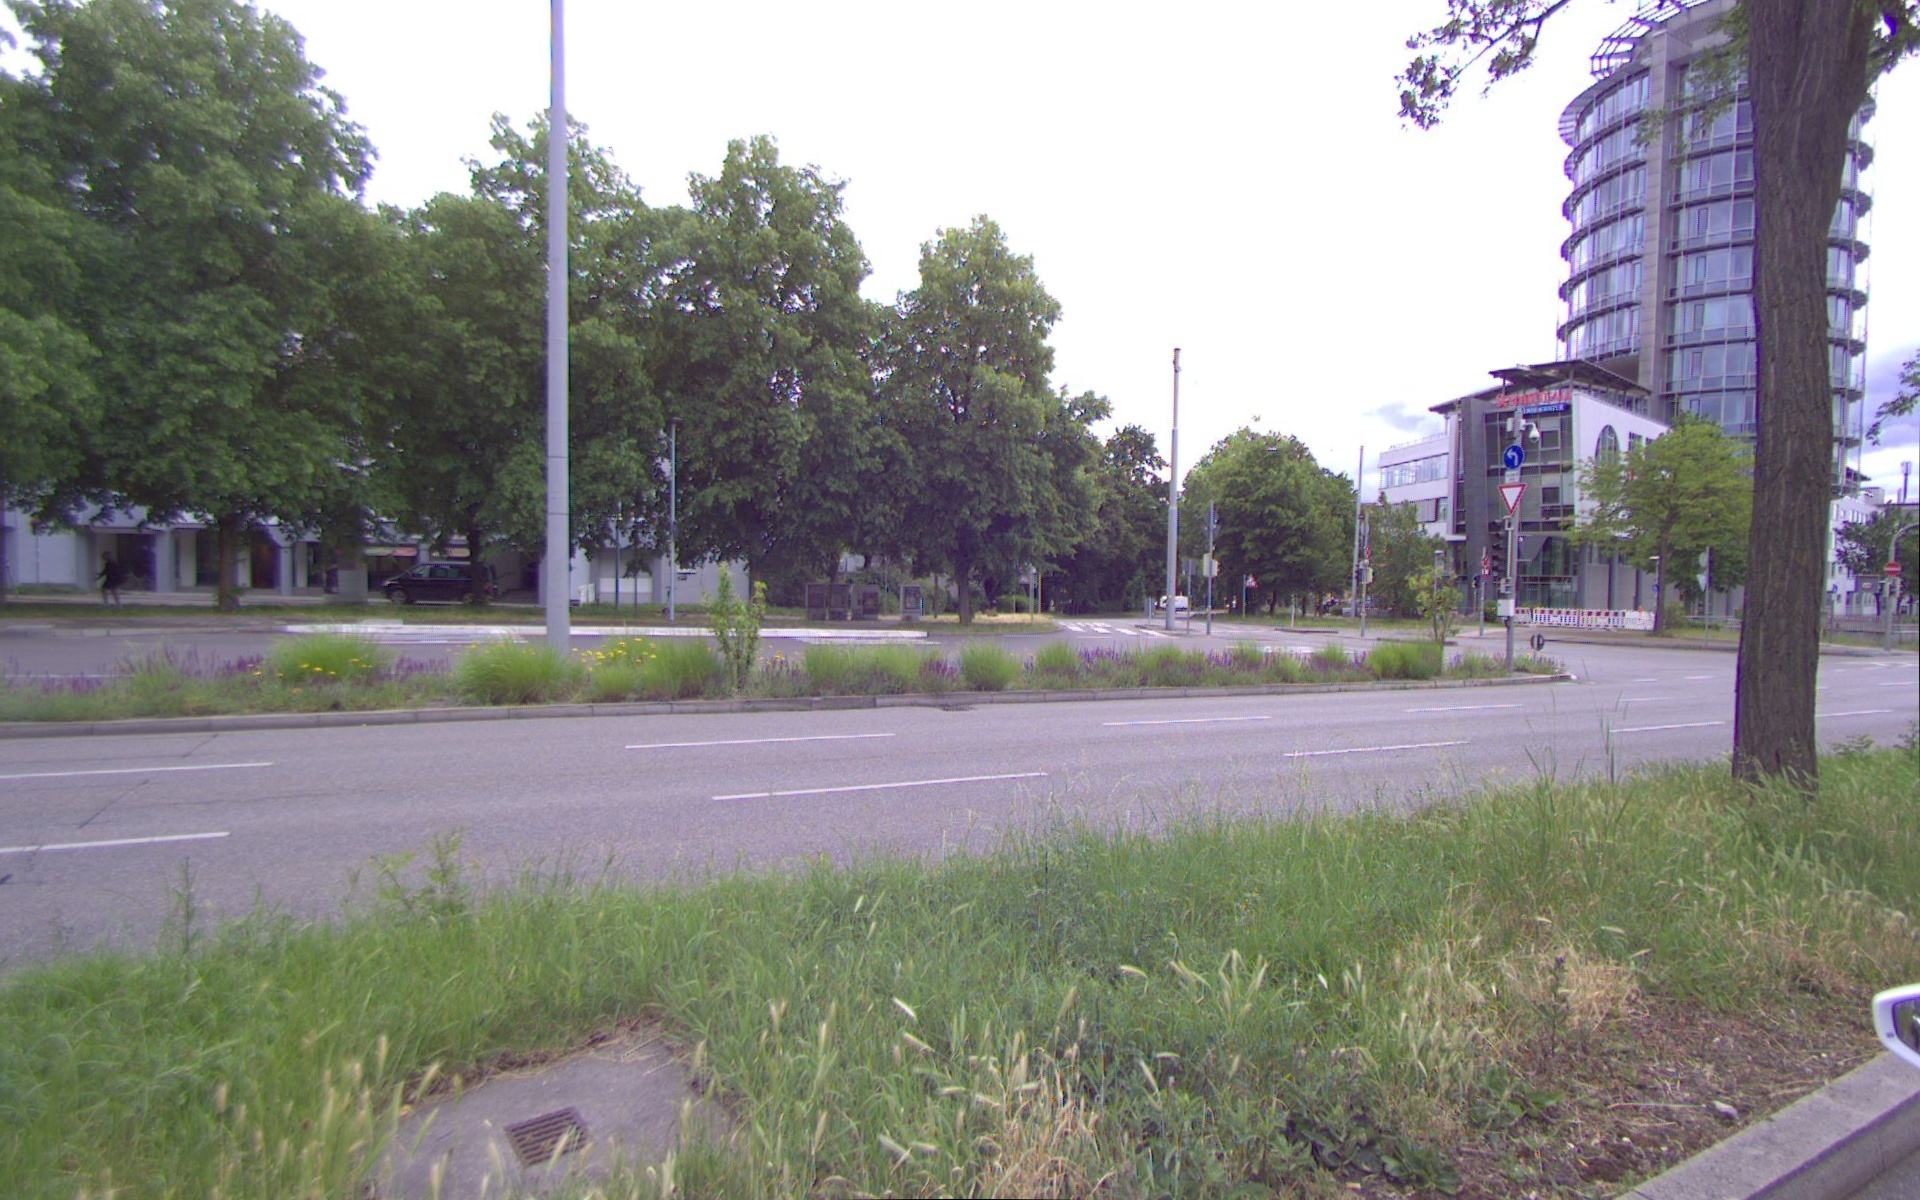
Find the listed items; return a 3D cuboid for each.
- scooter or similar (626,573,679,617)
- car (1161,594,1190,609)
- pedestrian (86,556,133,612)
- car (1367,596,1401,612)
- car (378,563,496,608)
[{"bbox_3d":[-11.870,-0.190,38.843,1.835,1.686,0.645,1,1,-43],"label":"scooter or similar"},{"bbox_3d":[37.716,0.249,175.670,4.475,2.370,1.994,2,0,-16],"label":"car"},{"bbox_3d":[-24.657,-0.472,29.149,0.894,1.578,0.766,1,1,-30],"label":"pedestrian"},{"bbox_3d":[25.040,0.231,59.389,1.684,0.888,0.776,1,0,7],"label":"car"},{"bbox_3d":[-23.317,-0.646,44.939,4.345,1.872,1.781,1,1,-16],"label":"car"}]
